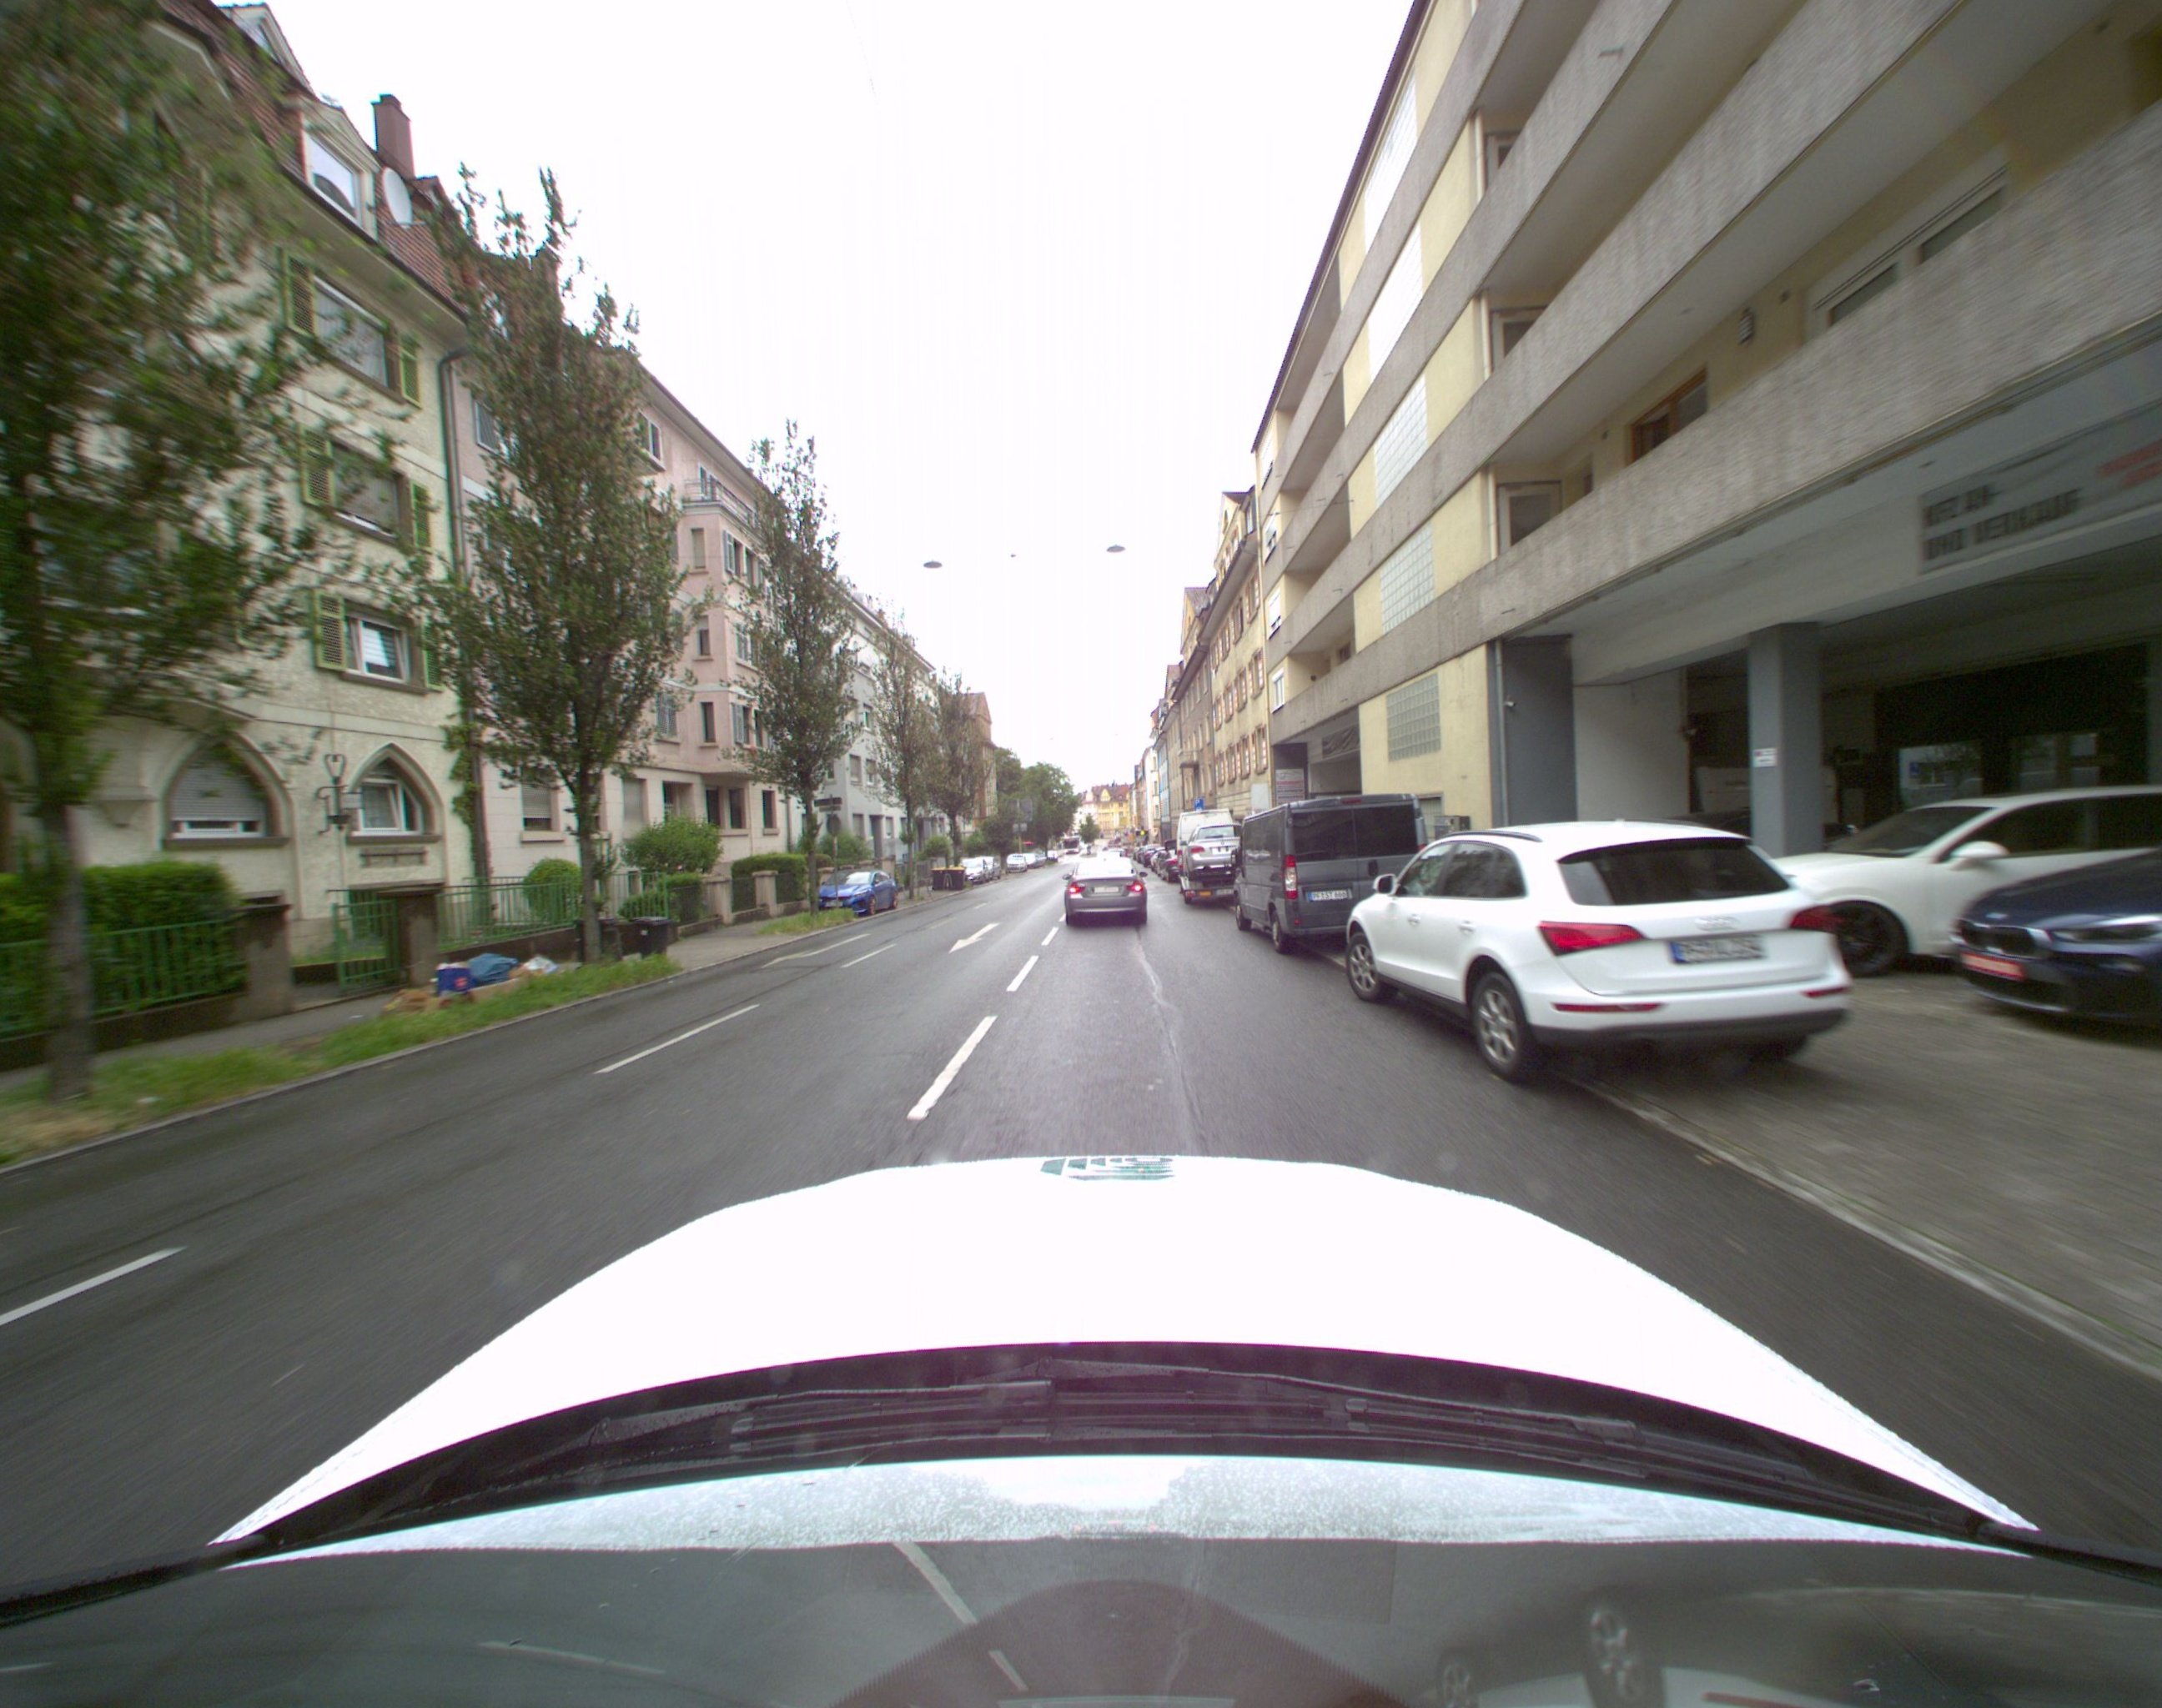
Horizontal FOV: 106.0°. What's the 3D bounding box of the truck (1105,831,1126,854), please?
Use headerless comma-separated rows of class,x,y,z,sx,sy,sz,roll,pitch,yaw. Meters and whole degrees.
truck,3.794,-1.237,90.235,2.209,2.544,4.781,0,0,1

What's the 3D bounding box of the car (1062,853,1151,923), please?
car,0.570,0.685,17.964,1.749,1.362,3.166,-1,0,2

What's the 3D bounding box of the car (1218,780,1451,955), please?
car,3.796,0.157,13.458,2.146,2.149,5.512,-4,0,1

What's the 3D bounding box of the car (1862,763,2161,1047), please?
car,7.954,0.169,5.128,3.910,1.641,1.822,-5,1,20

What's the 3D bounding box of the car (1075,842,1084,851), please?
car,-0.255,-1.595,181.945,1.987,2.013,4.000,0,0,1

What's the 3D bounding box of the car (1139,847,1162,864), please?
car,6.662,0.097,78.253,1.834,1.409,4.389,-5,1,1

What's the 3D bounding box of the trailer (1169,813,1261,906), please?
trailer,3.645,0.057,22.995,1.984,2.152,5.079,-5,1,5

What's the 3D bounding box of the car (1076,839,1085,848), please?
car,-0.198,-2.473,192.854,1.986,2.013,4.001,0,0,1

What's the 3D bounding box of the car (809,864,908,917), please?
car,-6.950,1.094,25.976,1.672,1.385,4.605,-3,0,2

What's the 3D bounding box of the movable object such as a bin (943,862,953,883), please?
movable object such as a bin,-6.639,0.921,40.759,0.470,1.058,0.482,0,0,-7

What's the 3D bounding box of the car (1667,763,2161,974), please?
car,8.347,0.122,7.826,3.988,1.641,1.822,-5,1,20

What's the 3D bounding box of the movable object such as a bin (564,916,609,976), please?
movable object such as a bin,-8.050,1.486,13.269,0.362,0.911,0.573,-1,0,1

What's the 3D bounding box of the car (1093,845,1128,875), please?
car,1.399,0.275,40.205,1.597,1.420,3.287,0,0,0

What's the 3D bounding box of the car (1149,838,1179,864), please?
car,5.434,-0.219,53.797,1.626,1.638,4.195,0,0,0

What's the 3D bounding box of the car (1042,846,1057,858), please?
car,-4.011,-0.285,103.021,1.648,1.453,3.942,-3,1,0

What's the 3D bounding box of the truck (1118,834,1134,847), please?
truck,7.880,-2.320,143.155,2.211,2.116,4.647,1,0,-3

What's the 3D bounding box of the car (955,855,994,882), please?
car,-6.109,0.816,47.194,1.595,1.396,3.888,-3,0,1

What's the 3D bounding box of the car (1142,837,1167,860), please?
car,6.454,-0.498,71.774,1.784,1.817,4.082,-4,1,2

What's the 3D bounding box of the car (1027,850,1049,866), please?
car,-4.052,0.329,77.828,1.676,1.390,3.912,-2,1,3

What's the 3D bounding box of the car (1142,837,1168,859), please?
car,5.864,-0.530,65.304,1.783,1.548,4.229,-4,1,3

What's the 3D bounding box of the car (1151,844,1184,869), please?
car,5.168,0.138,49.057,1.626,1.478,3.735,0,0,0

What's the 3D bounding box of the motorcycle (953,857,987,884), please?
motorcycle,-5.781,0.864,42.297,1.788,1.315,0.746,-3,1,43

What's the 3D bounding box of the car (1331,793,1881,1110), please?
car,3.566,0.524,6.655,1.740,1.640,4.275,-4,0,1

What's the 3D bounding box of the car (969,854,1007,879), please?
car,-5.956,0.792,52.457,1.593,1.451,3.894,-3,0,6

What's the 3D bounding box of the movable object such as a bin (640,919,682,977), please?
movable object such as a bin,-6.951,1.544,13.497,0.362,0.890,0.573,-1,0,1

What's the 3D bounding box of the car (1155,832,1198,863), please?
car,5.067,-0.320,43.587,1.771,1.479,4.588,-3,0,1

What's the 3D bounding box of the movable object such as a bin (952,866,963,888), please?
movable object such as a bin,-6.054,1.140,39.934,0.470,1.058,0.482,0,0,-7

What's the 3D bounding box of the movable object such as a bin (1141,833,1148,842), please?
movable object such as a bin,11.709,-3.024,150.181,1.119,1.702,1.433,-4,0,-1

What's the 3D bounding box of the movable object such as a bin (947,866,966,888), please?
movable object such as a bin,-6.004,1.110,39.247,0.821,1.058,0.484,0,0,3

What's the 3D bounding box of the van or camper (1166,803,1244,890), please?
van or camper,4.391,-0.301,29.790,2.174,2.699,6.428,-4,1,4

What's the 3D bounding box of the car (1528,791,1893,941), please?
car,8.889,0.117,11.605,4.234,1.655,1.790,-4,1,-13

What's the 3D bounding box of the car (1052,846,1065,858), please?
car,-3.038,-0.276,108.070,1.627,1.453,3.837,-3,1,-2

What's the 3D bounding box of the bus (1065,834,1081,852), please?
bus,-1.508,-2.088,156.848,2.671,3.200,11.958,0,0,1

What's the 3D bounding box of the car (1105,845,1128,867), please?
car,2.297,0.111,52.261,1.429,1.356,3.765,0,0,3

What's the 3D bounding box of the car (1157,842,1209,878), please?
car,4.652,0.257,37.800,1.772,1.479,4.188,-3,0,-1

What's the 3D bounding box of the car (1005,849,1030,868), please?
car,-5.257,0.351,67.627,1.640,1.508,3.797,-3,0,1

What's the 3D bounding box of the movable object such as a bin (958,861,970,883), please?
movable object such as a bin,-5.857,0.905,40.697,0.522,1.058,0.484,0,0,3

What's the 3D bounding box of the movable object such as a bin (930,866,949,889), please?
movable object such as a bin,-6.897,1.151,39.786,0.821,1.058,0.484,-1,0,3

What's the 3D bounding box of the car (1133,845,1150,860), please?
car,6.750,-0.176,90.641,1.577,1.429,3.597,-6,1,2
